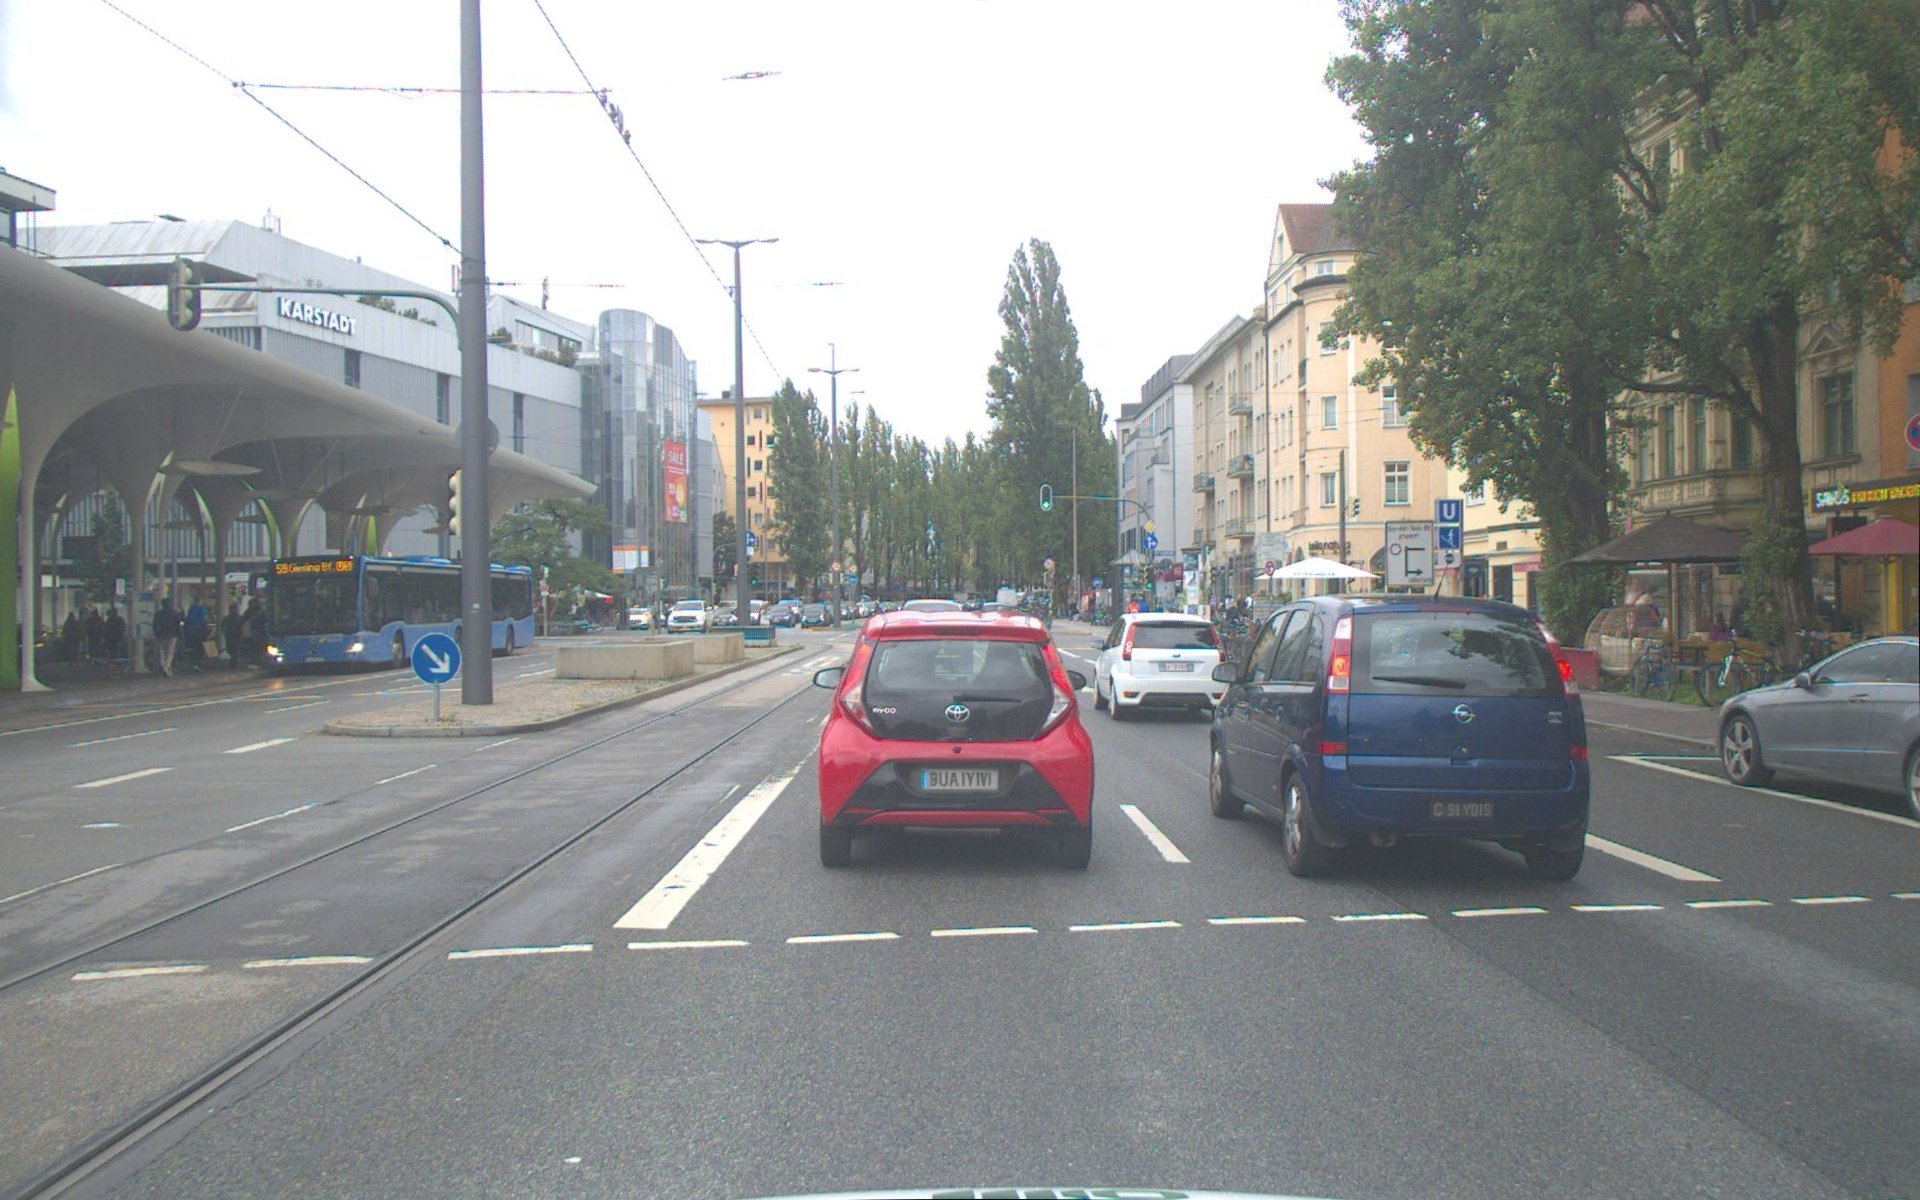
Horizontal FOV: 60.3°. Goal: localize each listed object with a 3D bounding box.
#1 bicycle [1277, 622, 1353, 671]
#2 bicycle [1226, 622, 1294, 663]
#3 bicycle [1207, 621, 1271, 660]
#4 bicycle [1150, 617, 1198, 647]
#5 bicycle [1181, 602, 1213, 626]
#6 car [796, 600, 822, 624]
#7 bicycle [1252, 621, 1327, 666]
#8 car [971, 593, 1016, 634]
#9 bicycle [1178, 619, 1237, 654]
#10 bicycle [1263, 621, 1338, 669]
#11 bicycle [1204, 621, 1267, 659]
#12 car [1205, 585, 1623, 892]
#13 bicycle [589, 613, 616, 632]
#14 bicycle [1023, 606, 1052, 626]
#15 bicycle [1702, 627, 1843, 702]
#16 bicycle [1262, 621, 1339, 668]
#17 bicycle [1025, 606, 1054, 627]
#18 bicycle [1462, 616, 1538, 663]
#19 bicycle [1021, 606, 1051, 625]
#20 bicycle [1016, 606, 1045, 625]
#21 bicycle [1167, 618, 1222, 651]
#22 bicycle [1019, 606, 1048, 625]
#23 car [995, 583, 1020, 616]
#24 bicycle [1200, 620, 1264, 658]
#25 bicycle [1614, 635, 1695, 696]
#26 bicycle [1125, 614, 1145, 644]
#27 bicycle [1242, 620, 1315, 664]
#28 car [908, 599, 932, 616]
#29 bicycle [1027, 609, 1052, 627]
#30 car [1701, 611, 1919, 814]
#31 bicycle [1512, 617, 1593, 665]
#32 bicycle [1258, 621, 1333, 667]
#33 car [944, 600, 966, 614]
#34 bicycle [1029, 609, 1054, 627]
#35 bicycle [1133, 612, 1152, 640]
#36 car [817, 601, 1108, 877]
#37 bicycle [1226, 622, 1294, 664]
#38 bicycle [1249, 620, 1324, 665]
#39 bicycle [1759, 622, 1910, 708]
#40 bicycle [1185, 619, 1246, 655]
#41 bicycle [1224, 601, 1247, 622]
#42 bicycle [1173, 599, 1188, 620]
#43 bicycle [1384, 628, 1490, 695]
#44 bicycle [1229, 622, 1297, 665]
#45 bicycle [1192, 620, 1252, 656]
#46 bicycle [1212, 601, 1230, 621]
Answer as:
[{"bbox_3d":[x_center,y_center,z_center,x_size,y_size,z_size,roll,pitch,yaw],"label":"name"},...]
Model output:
[{"bbox_3d":[7.957,1.023,37.084,0.322,1.013,1.813,-1,1,-43],"label":"bicycle"},{"bbox_3d":[7.797,1.097,43.074,1.807,1.013,0.323,1,1,40],"label":"bicycle"},{"bbox_3d":[7.509,1.091,44.524,1.810,1.013,0.323,-1,0,44],"label":"bicycle"},{"bbox_3d":[7.411,1.126,57.306,1.810,1.013,0.345,-2,-1,44],"label":"bicycle"},{"bbox_3d":[12.074,0.708,84.408,1.536,1.180,0.525,-2,1,2],"label":"bicycle"},{"bbox_3d":[-9.572,0.773,104.755,1.516,1.471,3.533,-1,0,-8],"label":"car"},{"bbox_3d":[7.856,1.024,39.483,1.805,1.013,0.324,1,1,36],"label":"bicycle"},{"bbox_3d":[1.545,0.629,78.067,1.953,1.870,3.999,-1,0,-1],"label":"car"},{"bbox_3d":[7.407,1.092,49.487,1.807,1.013,0.346,-2,-1,39],"label":"bicycle"},{"bbox_3d":[7.737,1.019,37.675,0.323,1.013,1.812,-1,1,-44],"label":"bicycle"},{"bbox_3d":[7.540,1.092,45.299,1.810,1.013,0.345,-2,-1,44],"label":"bicycle"},{"bbox_3d":[2.685,0.740,10.589,1.668,1.617,3.555,1,0,0],"label":"car"},{"bbox_3d":[-21.758,1.370,100.686,1.541,1.131,0.373,0,0,3],"label":"bicycle"},{"bbox_3d":[4.689,0.967,100.186,1.769,1.178,0.546,-1,0,38],"label":"bicycle"},{"bbox_3d":[12.055,0.957,24.553,1.848,1.072,0.458,-1,0,1],"label":"bicycle"},{"bbox_3d":[7.838,1.022,38.119,1.809,1.013,0.323,1,1,42],"label":"bicycle"},{"bbox_3d":[4.762,0.971,98.794,1.773,1.219,0.555,-1,0,43],"label":"bicycle"},{"bbox_3d":[12.589,0.915,38.556,1.690,1.064,0.387,0,1,-7],"label":"bicycle"},{"bbox_3d":[4.686,0.969,101.679,1.763,1.178,0.486,-1,0,26],"label":"bicycle"},{"bbox_3d":[4.425,0.998,104.368,1.768,1.178,0.650,-1,0,35],"label":"bicycle"},{"bbox_3d":[7.396,1.095,52.177,1.809,1.013,0.346,-2,-1,43],"label":"bicycle"},{"bbox_3d":[4.547,0.988,102.992,1.765,1.178,0.486,-1,0,30],"label":"bicycle"},{"bbox_3d":[4.150,-0.037,144.497,2.063,2.766,4.803,-1,0,0],"label":"car"},{"bbox_3d":[7.554,1.093,45.965,1.807,1.013,0.346,-2,-1,40],"label":"bicycle"},{"bbox_3d":[11.183,1.036,26.672,0.447,0.907,1.893,-1,0,-2],"label":"bicycle"},{"bbox_3d":[7.786,1.295,73.825,0.601,1.287,2.519,-1,0,0],"label":"bicycle"},{"bbox_3d":[7.854,1.025,40.855,1.805,1.013,0.324,1,1,36],"label":"bicycle"},{"bbox_3d":[-4.526,0.854,188.685,1.952,1.720,4.925,5,1,7],"label":"car"},{"bbox_3d":[4.691,1.062,98.133,0.495,1.046,1.576,-1,0,-43],"label":"bicycle"},{"bbox_3d":[8.085,0.852,13.399,1.954,1.465,4.527,-1,0,-3],"label":"car"},{"bbox_3d":[13.499,0.937,37.716,1.685,1.064,0.388,0,1,10],"label":"bicycle"},{"bbox_3d":[7.847,1.023,38.771,1.809,1.013,0.323,1,1,42],"label":"bicycle"},{"bbox_3d":[-0.637,0.856,213.632,1.951,1.758,3.920,-1,0,13],"label":"car"},{"bbox_3d":[4.776,1.065,97.278,0.495,1.046,1.576,-1,0,-43],"label":"bicycle"},{"bbox_3d":[8.595,1.221,78.156,0.601,1.287,2.519,-1,0,0],"label":"bicycle"},{"bbox_3d":[0.023,0.760,10.607,1.572,1.487,3.130,1,0,0],"label":"car"},{"bbox_3d":[7.694,1.093,42.496,1.807,1.013,0.323,1,1,40],"label":"bicycle"},{"bbox_3d":[7.908,1.025,40.087,1.805,1.013,0.324,1,1,36],"label":"bicycle"},{"bbox_3d":[12.556,0.924,23.763,1.848,1.194,0.582,-1,0,1],"label":"bicycle"},{"bbox_3d":[7.514,1.094,48.681,1.807,1.013,0.346,-2,-1,39],"label":"bicycle"},{"bbox_3d":[14.853,0.607,89.118,0.486,1.077,1.858,-1,0,-15],"label":"bicycle"},{"bbox_3d":[11.815,0.502,88.600,0.555,1.127,1.866,-1,0,-1],"label":"bicycle"},{"bbox_3d":[7.966,1.015,27.693,0.372,1.013,1.816,-1,1,-39],"label":"bicycle"},{"bbox_3d":[7.642,1.091,41.802,1.811,1.013,0.323,1,1,44],"label":"bicycle"},{"bbox_3d":[7.493,1.093,47.370,1.810,1.013,0.346,-2,-1,43],"label":"bicycle"},{"bbox_3d":[14.021,0.596,88.814,0.485,1.077,1.864,-1,0,-5],"label":"bicycle"}]
